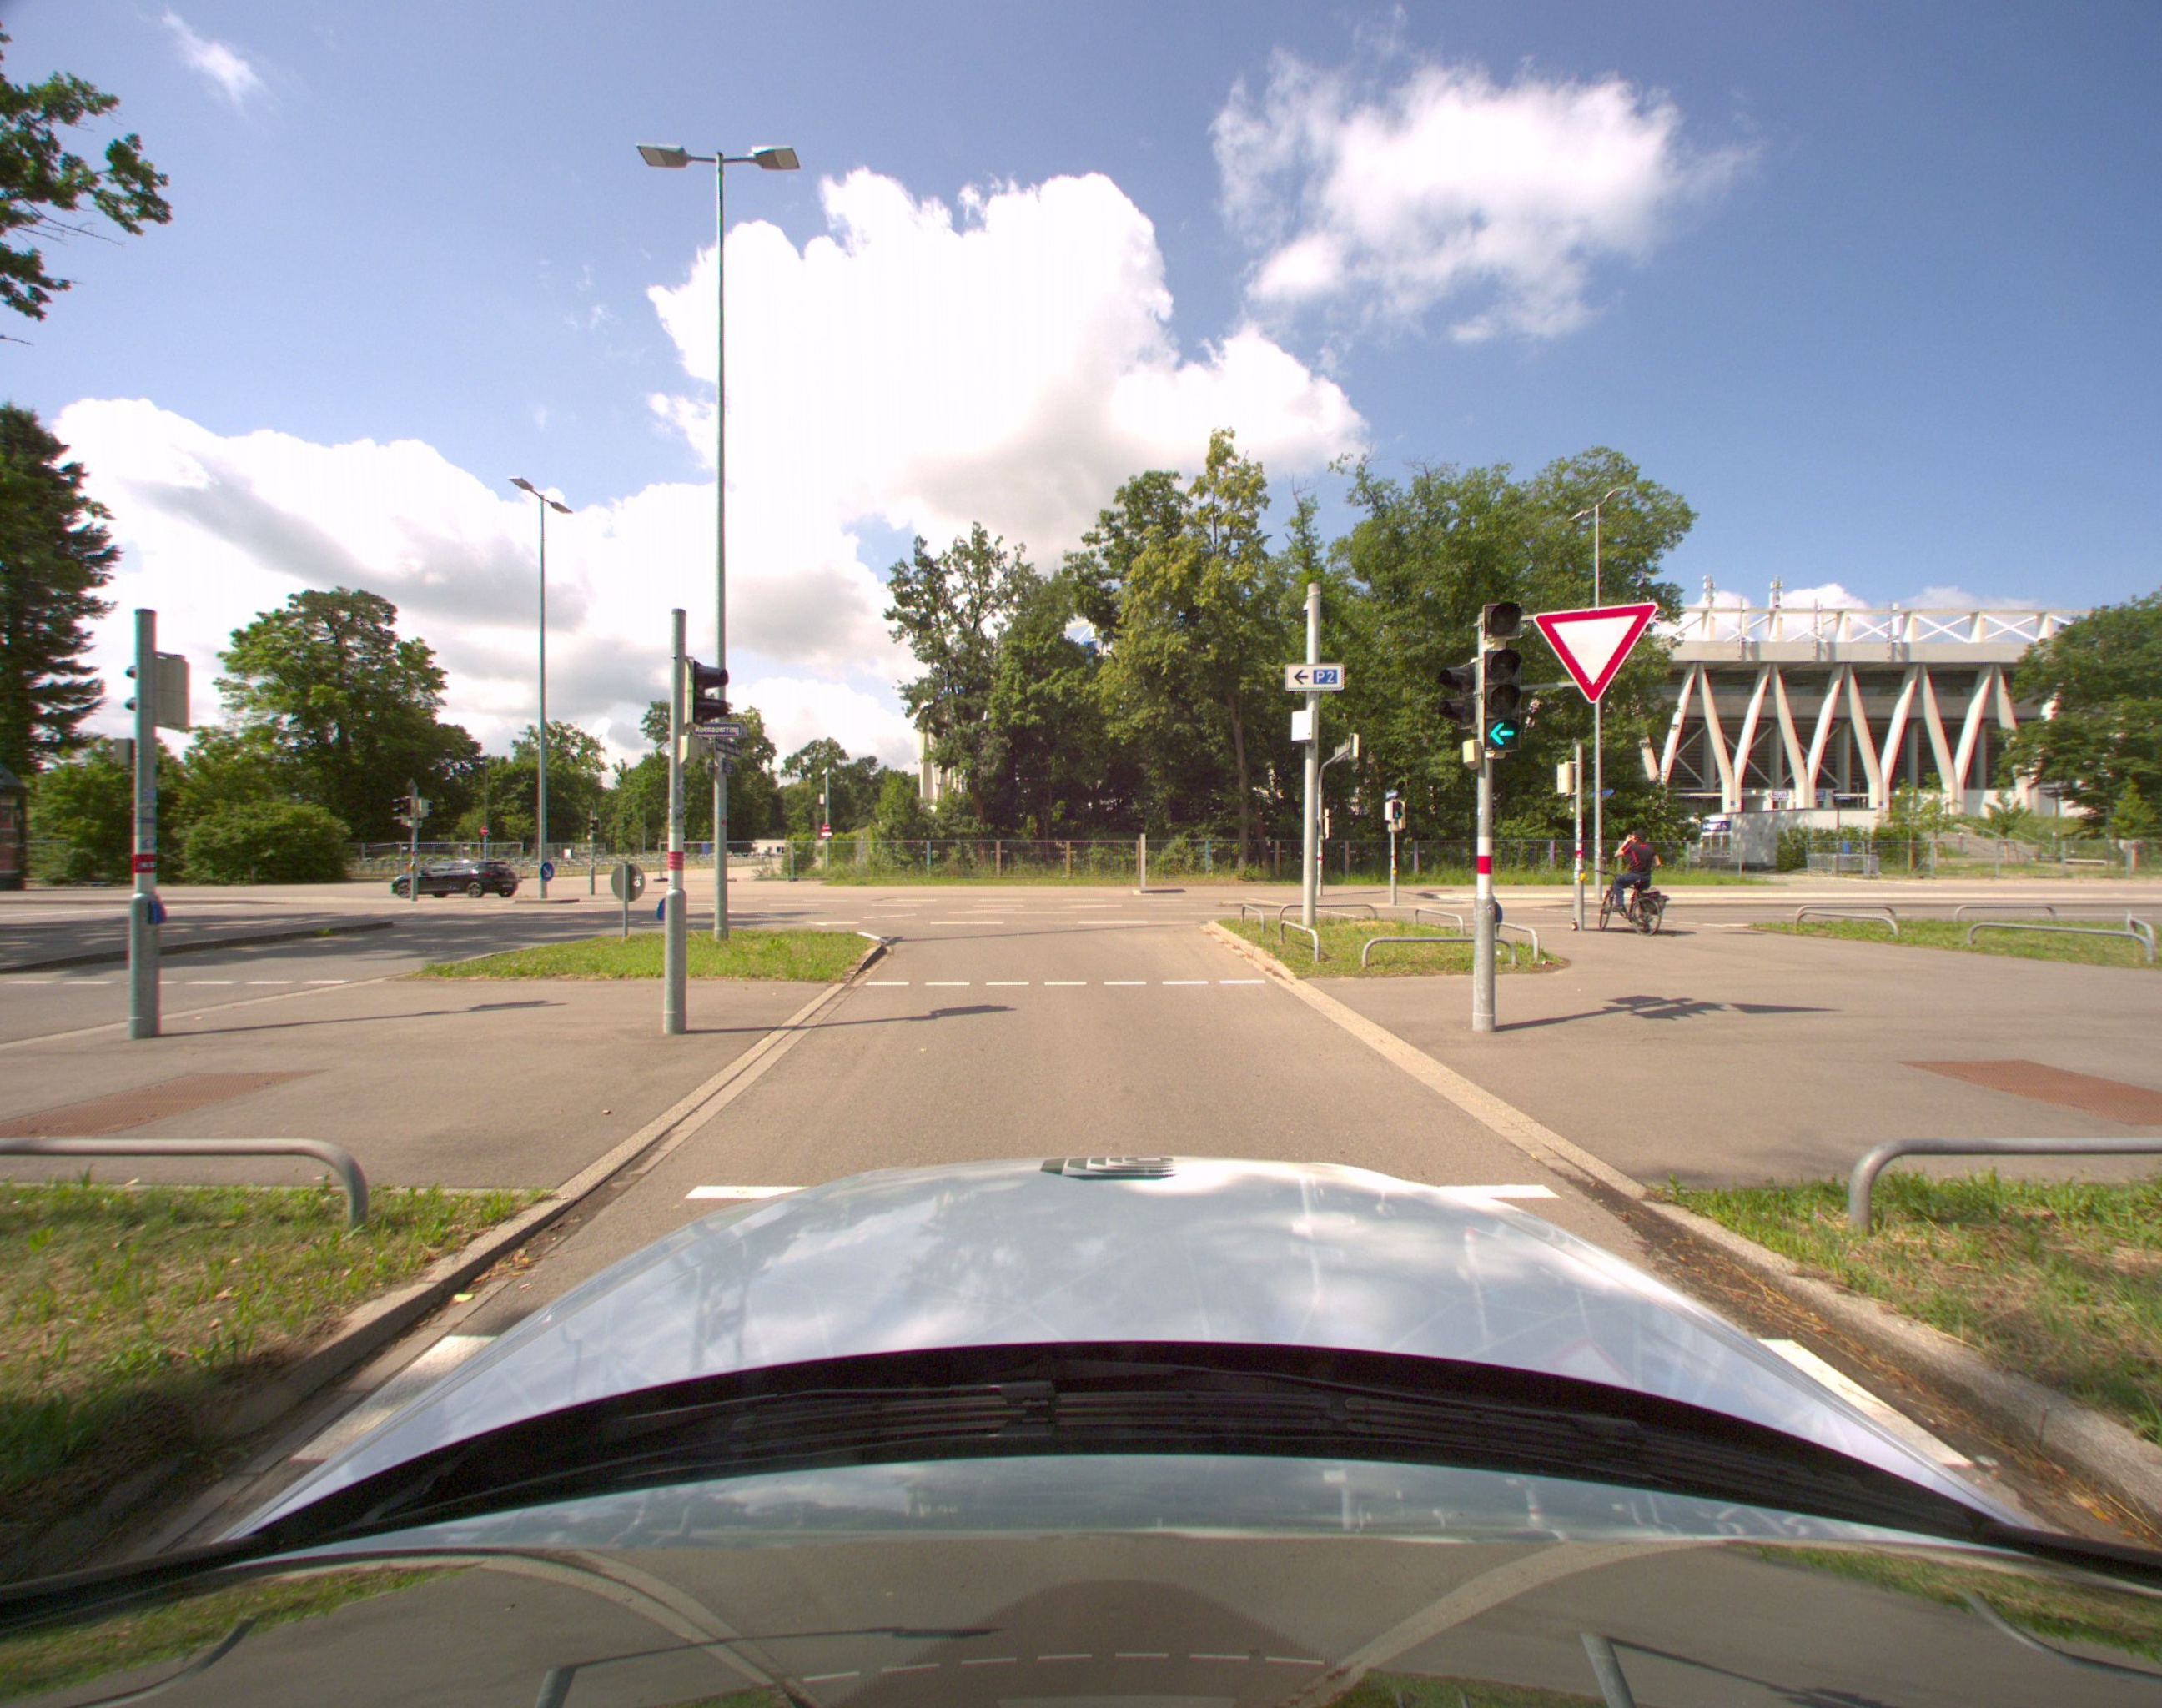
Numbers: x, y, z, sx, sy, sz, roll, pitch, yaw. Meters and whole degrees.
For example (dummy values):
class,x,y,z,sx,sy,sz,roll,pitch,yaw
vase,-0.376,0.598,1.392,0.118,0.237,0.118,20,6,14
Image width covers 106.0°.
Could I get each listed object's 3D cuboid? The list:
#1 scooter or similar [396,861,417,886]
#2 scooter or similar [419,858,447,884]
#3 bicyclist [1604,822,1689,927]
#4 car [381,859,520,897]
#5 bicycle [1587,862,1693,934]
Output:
class,x,y,z,sx,sy,sz,roll,pitch,yaw
scooter or similar,-32.262,0.923,38.939,1.295,1.200,0.410,0,1,34
scooter or similar,-32.198,0.825,40.455,0.405,1.252,1.310,0,1,-4
bicyclist,9.988,0.363,14.422,0.879,1.798,0.981,-1,-1,10
car,-23.589,0.895,30.548,3.948,1.378,1.603,0,-1,1
bicycle,10.026,0.762,14.704,0.875,1.206,1.903,-1,-1,11
